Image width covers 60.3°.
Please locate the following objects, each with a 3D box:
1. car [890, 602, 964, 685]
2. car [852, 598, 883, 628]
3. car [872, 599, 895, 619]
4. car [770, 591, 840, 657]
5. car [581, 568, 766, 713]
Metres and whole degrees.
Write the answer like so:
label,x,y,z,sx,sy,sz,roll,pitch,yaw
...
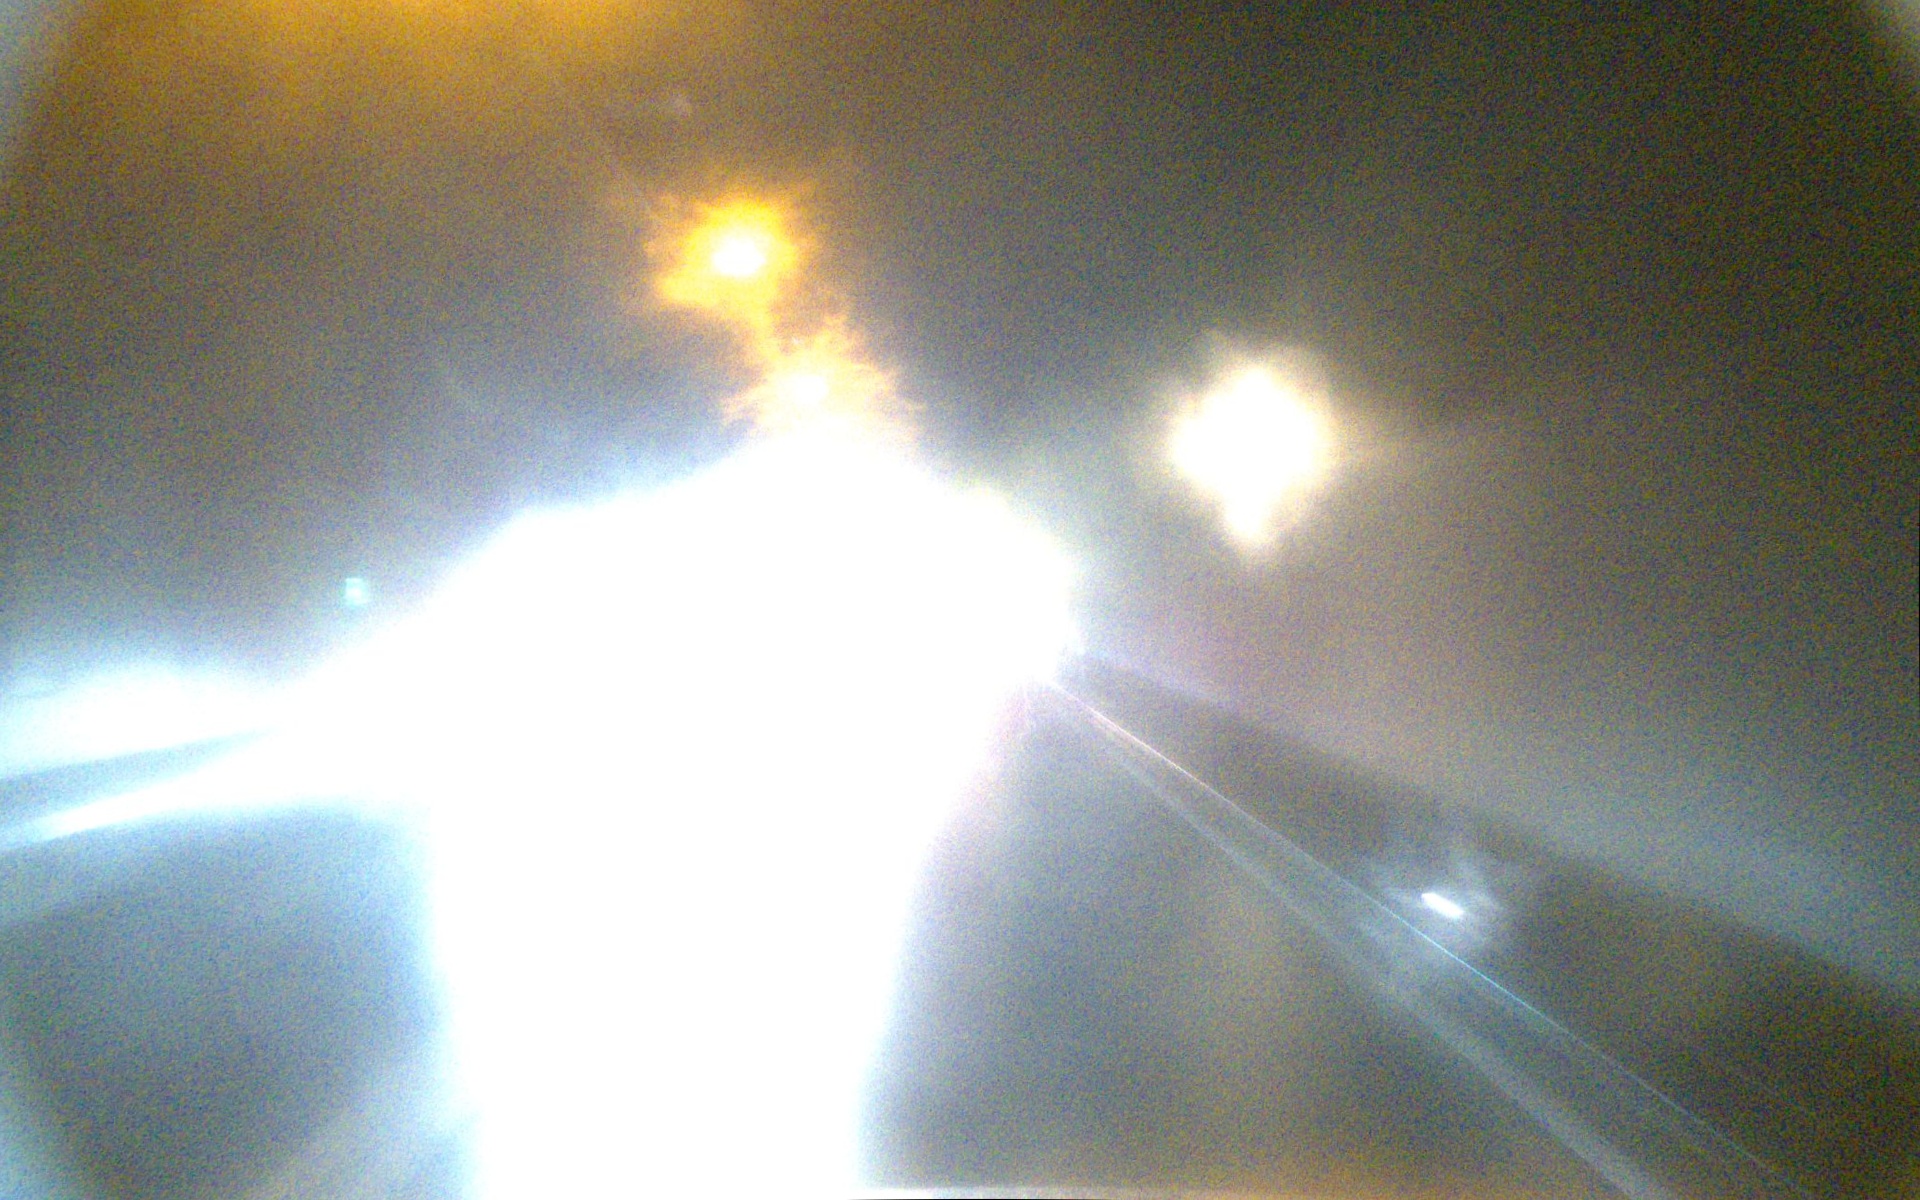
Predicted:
label,x,y,z,sx,sy,sz,roll,pitch,yaw
car,-0.752,0.944,38.228,1.602,1.788,4.144,1,0,-1
car,-5.347,0.728,96.225,1.663,1.705,4.126,1,0,-2
car,-6.049,0.725,130.794,1.713,1.506,4.474,1,0,-1
car,-4.376,0.642,46.828,1.877,1.758,3.996,1,0,-5
car,-3.689,0.480,22.044,1.745,1.705,4.560,1,0,-1
